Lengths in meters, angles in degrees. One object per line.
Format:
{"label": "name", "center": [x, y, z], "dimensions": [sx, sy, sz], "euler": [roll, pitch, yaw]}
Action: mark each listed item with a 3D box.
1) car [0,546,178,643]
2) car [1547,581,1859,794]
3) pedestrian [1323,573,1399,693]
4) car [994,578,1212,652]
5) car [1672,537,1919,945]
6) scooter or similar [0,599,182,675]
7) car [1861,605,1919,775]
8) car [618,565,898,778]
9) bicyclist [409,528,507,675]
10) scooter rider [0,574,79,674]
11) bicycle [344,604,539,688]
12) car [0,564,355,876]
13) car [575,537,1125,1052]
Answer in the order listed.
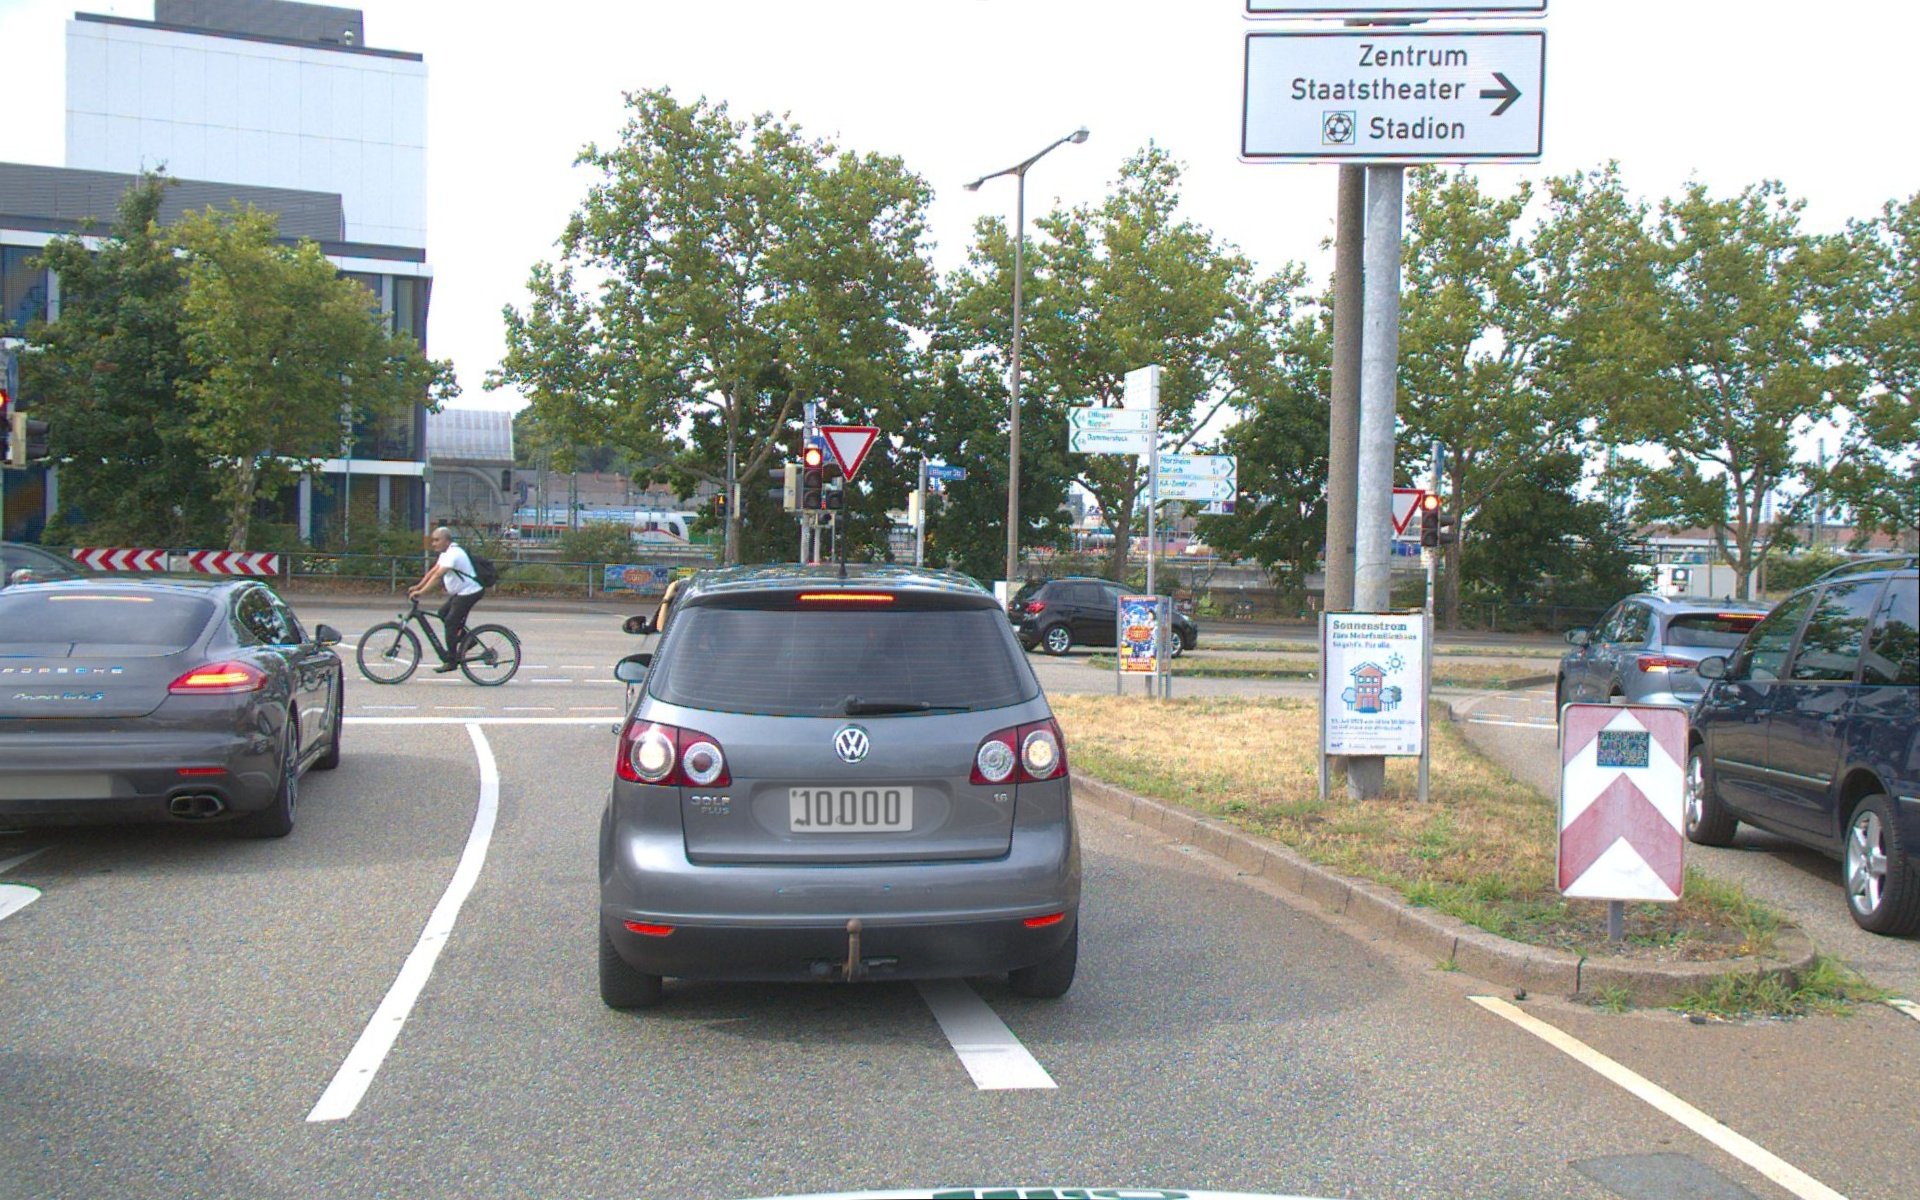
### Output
{"label": "car", "center": [-14.727, -0.100, 26.236], "dimensions": [3.996, 1.476, 1.693], "euler": [1, 1, -20]}
{"label": "car", "center": [6.726, 0.709, 15.437], "dimensions": [1.655, 1.613, 4.160], "euler": [3, 0, 11]}
{"label": "pedestrian", "center": [6.113, 0.485, 25.171], "dimensions": [1.025, 1.740, 0.854], "euler": [2, 1, 17]}
{"label": "car", "center": [2.839, 0.294, 32.872], "dimensions": [3.997, 1.391, 1.693], "euler": [1, 1, -20]}
{"label": "car", "center": [5.253, 0.651, 8.678], "dimensions": [1.713, 1.754, 4.141], "euler": [3, 0, 9]}
{"label": "scooter or similar", "center": [-10.756, 0.444, 20.009], "dimensions": [2.344, 0.864, 0.804], "euler": [1, 1, -21]}
{"label": "car", "center": [10.191, 0.926, 15.573], "dimensions": [1.713, 1.671, 4.141], "euler": [3, 0, 10]}
{"label": "car", "center": [-1.846, 0.491, 13.906], "dimensions": [1.713, 1.508, 4.064], "euler": [1, 0, -16]}
{"label": "bicyclist", "center": [-6.077, 0.020, 20.002], "dimensions": [1.095, 1.726, 0.808], "euler": [1, 1, -20]}
{"label": "scooter rider", "center": [-11.151, 0.279, 19.855], "dimensions": [0.900, 1.157, 0.804], "euler": [1, 1, -21]}
{"label": "bicycle", "center": [-6.246, 0.544, 19.953], "dimensions": [2.195, 0.969, 0.807], "euler": [1, 1, -20]}
{"label": "car", "center": [-4.858, 0.526, 10.108], "dimensions": [1.789, 1.439, 4.756], "euler": [1, 1, -16]}
{"label": "car", "center": [-0.618, 0.586, 7.207], "dimensions": [1.709, 1.573, 4.074], "euler": [1, 0, -9]}
